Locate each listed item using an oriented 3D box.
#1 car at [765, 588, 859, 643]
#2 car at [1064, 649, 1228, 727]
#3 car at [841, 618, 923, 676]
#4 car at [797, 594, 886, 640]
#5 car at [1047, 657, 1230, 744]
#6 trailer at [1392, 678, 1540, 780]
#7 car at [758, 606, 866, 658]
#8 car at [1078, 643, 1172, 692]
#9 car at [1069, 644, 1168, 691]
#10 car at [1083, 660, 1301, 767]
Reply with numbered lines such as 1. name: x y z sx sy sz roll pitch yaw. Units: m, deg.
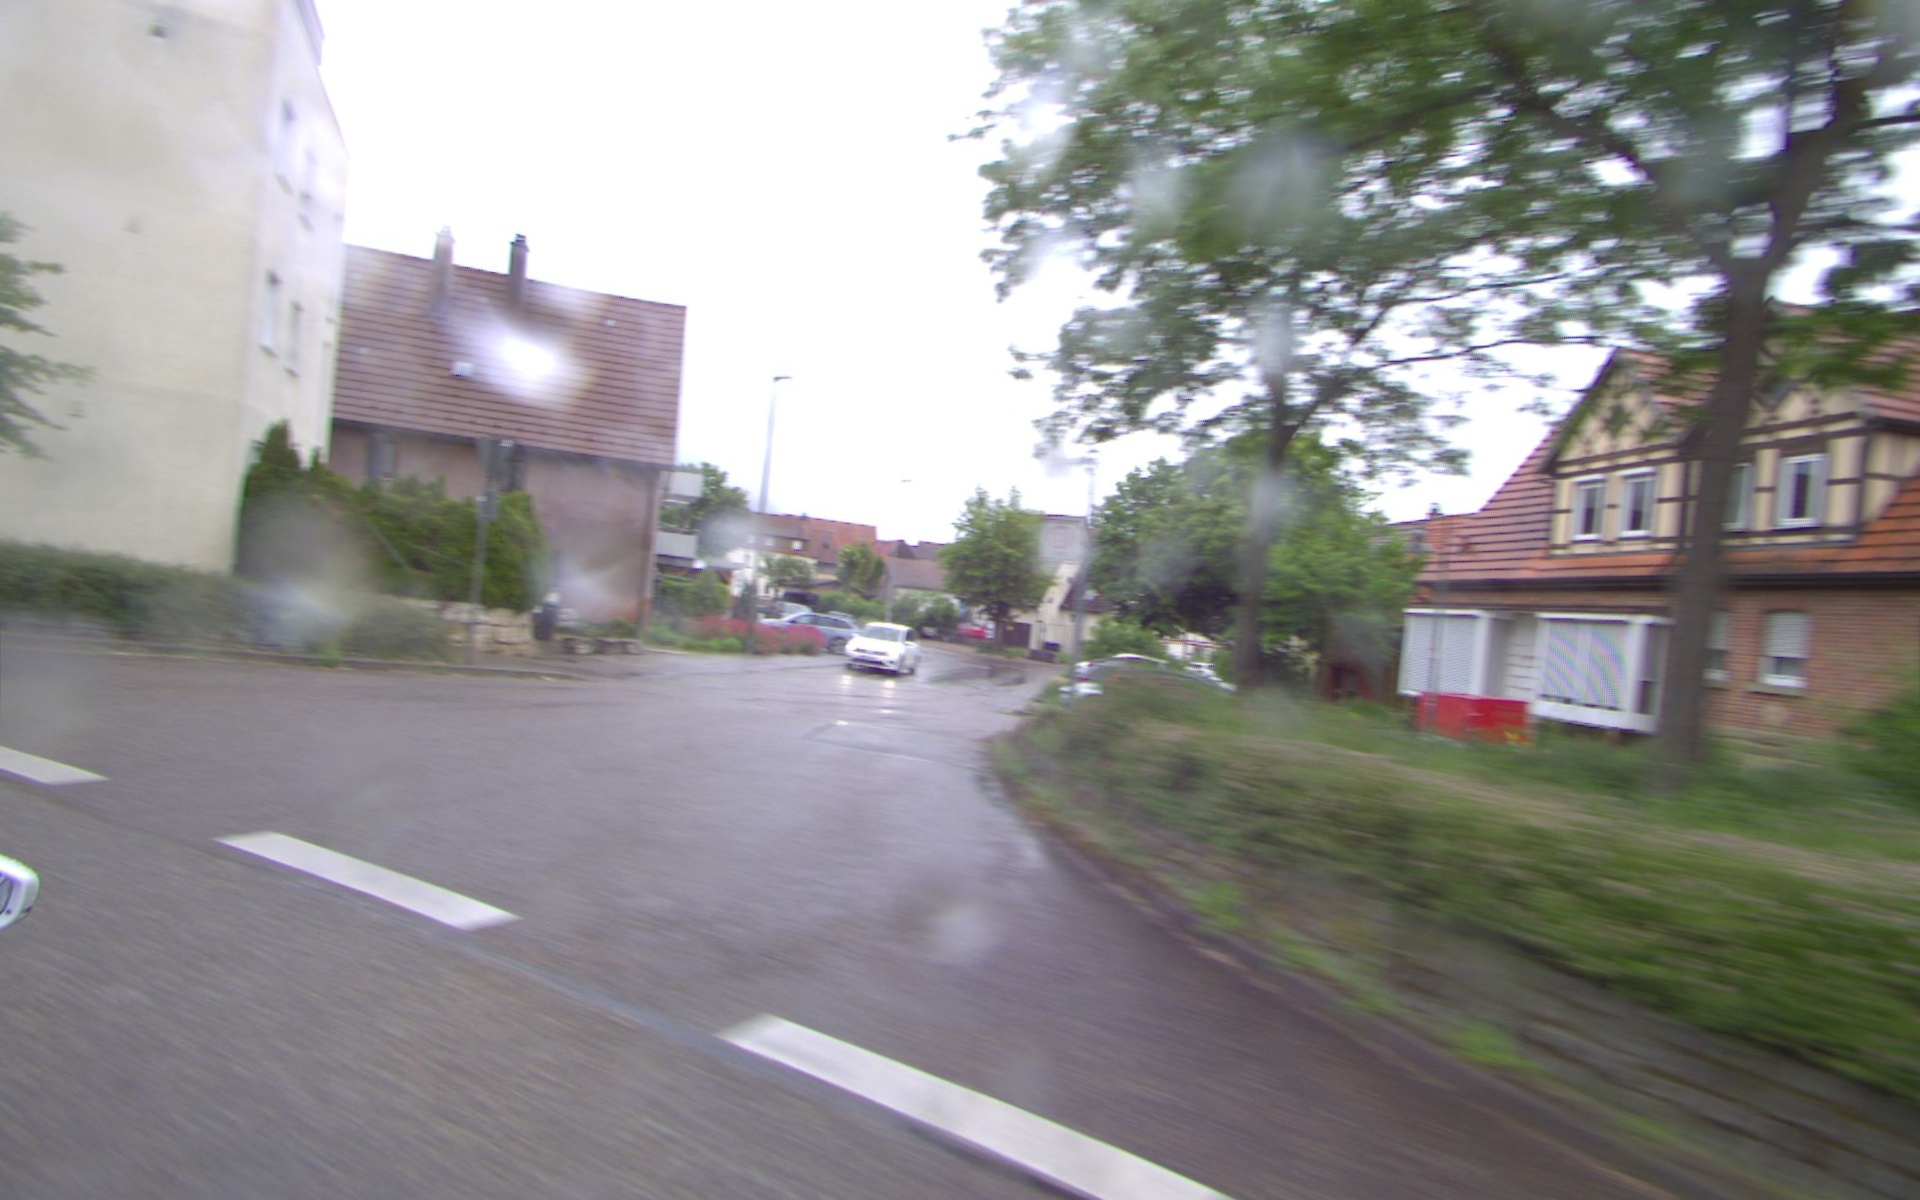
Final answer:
1. car: -6.789 0.707 46.010 3.938 1.904 1.835 8 -1 -14
2. car: 4.794 2.266 26.407 3.925 1.392 1.881 8 -1 5
3. car: -2.446 1.509 32.609 1.724 1.554 4.153 7 -1 7
4. car: -5.867 0.818 49.636 3.940 1.717 1.993 8 -1 -16
5. car: 4.109 2.315 23.582 3.925 1.407 1.625 7 -1 3
6. trailer: 10.559 2.645 21.184 1.387 1.668 2.723 8 -1 -5
7. car: -6.018 1.277 40.704 3.942 1.473 1.940 9 -1 -17
8. car: 7.412 3.015 45.344 3.924 1.570 2.002 8 -1 10
9. car: 7.562 3.184 47.918 4.398 1.570 2.002 8 -1 10
10. car: 4.409 2.108 19.154 3.668 1.407 1.623 7 -1 26
